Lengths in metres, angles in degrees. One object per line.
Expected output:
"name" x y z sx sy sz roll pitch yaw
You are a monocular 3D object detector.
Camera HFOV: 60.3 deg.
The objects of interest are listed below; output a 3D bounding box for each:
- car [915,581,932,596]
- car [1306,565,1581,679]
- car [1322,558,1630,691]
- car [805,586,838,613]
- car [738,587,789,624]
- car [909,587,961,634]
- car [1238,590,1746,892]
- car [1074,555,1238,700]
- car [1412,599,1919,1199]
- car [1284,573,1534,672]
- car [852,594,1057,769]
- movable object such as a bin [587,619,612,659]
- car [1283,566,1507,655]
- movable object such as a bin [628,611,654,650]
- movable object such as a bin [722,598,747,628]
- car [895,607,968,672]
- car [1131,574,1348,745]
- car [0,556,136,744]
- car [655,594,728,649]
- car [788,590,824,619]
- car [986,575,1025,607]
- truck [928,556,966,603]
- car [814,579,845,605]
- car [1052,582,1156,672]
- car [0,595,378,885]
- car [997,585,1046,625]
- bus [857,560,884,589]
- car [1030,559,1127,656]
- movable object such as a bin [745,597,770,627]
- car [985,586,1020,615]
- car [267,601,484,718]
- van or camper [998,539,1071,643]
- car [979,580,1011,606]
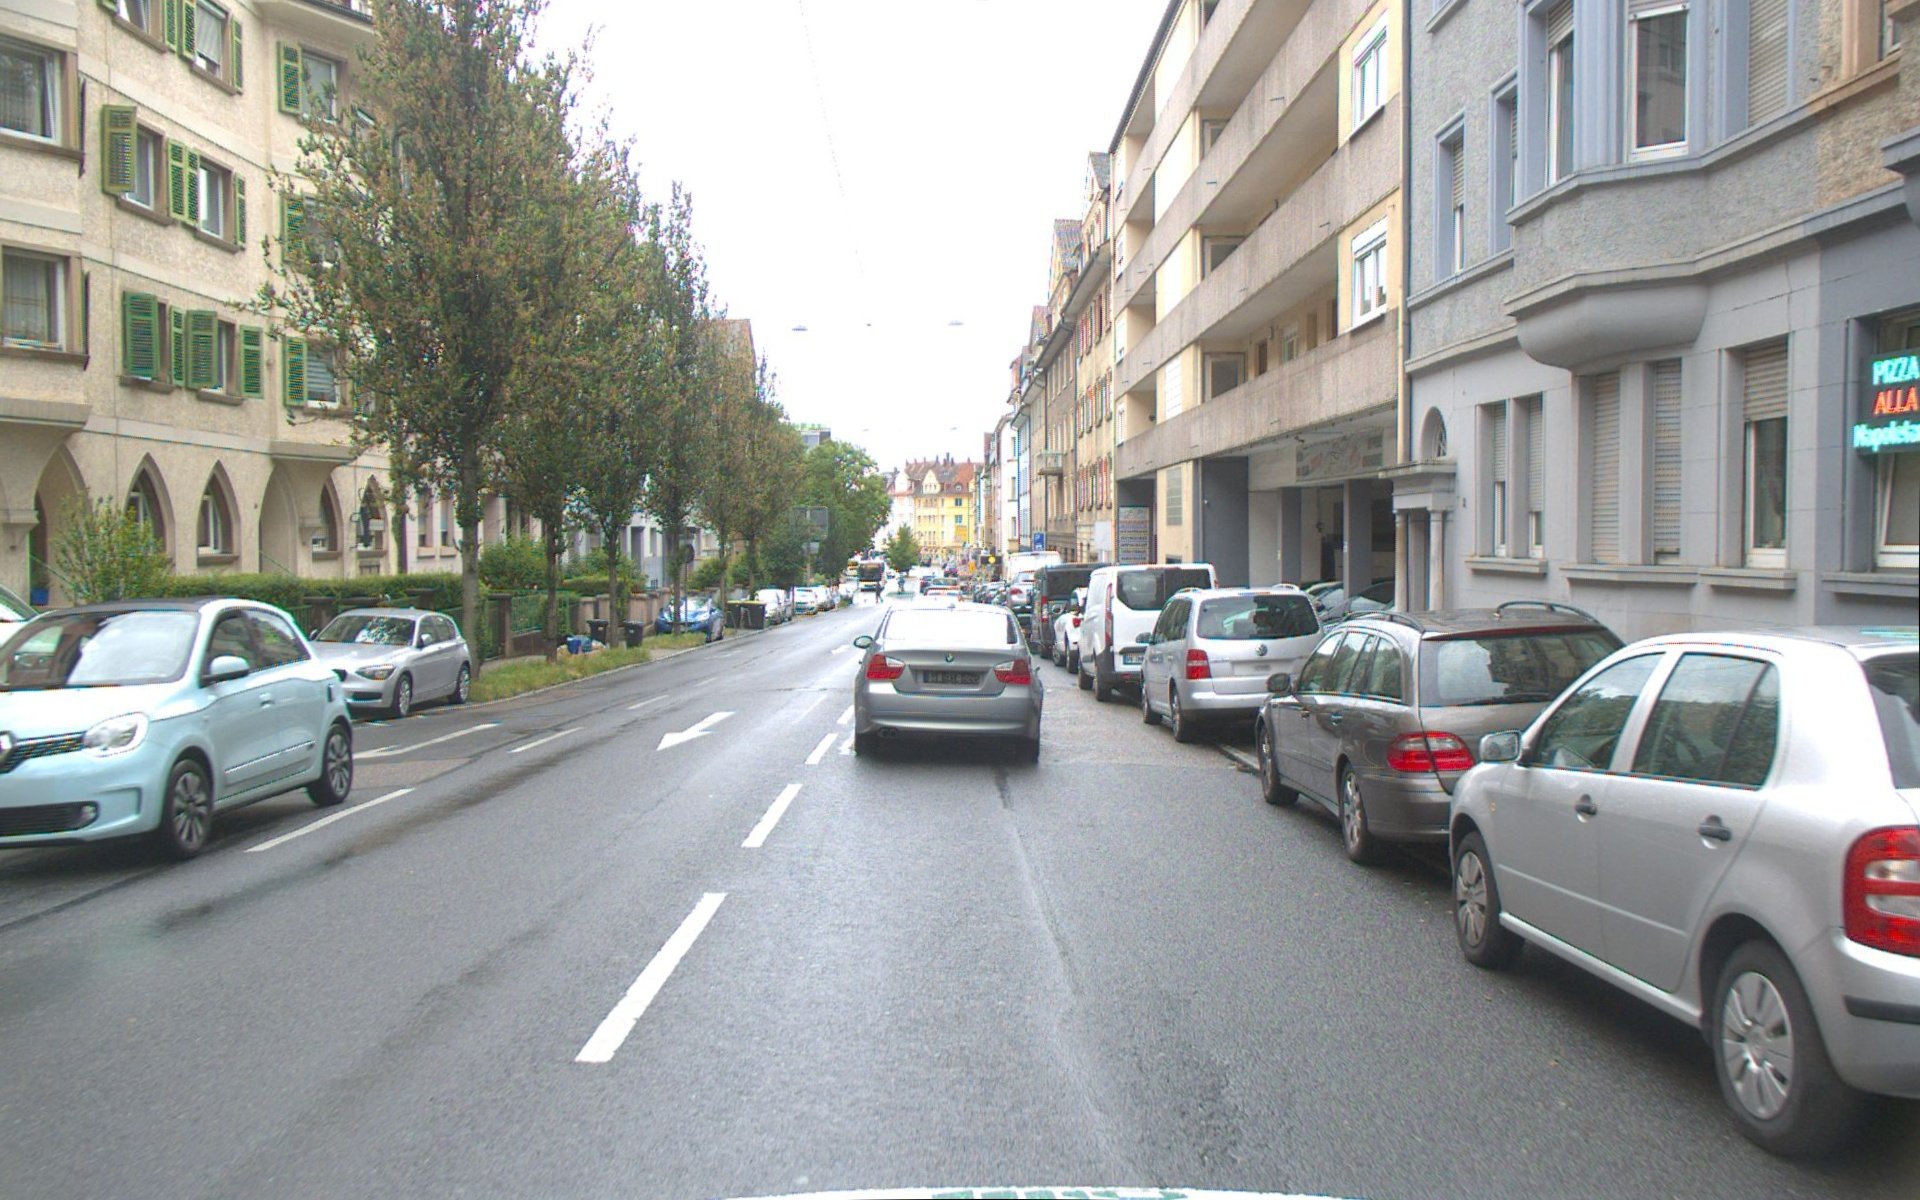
"car" -3.779 -1.173 170.680 1.663 1.509 3.792 -2 0 -2
"car" 7.898 0.336 27.413 4.233 1.756 1.911 0 2 12
"car" 7.687 0.325 24.857 4.234 1.836 2.008 0 2 17
"car" -8.539 -0.064 102.324 1.656 1.550 3.736 -2 1 0
"car" -8.768 0.235 74.094 1.790 1.550 3.736 -2 1 0
"car" -0.871 0.358 56.153 1.663 1.509 3.792 1 0 -2
"car" 3.247 0.738 11.241 1.861 1.504 4.798 -3 0 0
"car" 2.977 0.376 26.108 1.941 2.042 4.624 -1 0 -1
"car" 3.018 0.771 6.032 1.578 1.500 4.015 1 0 -1
"car" 7.955 0.388 29.623 4.195 1.669 1.669 0 2 12
"car" -0.037 0.691 16.052 1.733 1.453 3.741 1 0 0
"movable object such as a bin" -8.763 0.949 40.204 0.565 0.928 0.638 -1 0 -15
"car" 8.531 0.198 32.719 4.195 1.669 1.669 0 2 12
"movable object such as a bin" -7.796 0.736 40.376 0.565 0.928 0.638 -1 0 -15
"movable object such as a bin" -9.078 0.532 66.521 0.883 1.189 0.895 0 0 -1
"car" -0.652 0.923 40.113 1.647 1.453 3.741 1 0 0
"car" 3.117 0.604 19.300 1.691 1.699 4.288 -2 0 -1
"car" -12.256 0.575 18.765 4.731 2.008 2.047 -1 0 -1
"car" -8.493 0.651 52.668 1.731 1.621 3.999 -2 1 -2
"car" -8.785 0.257 94.424 1.656 1.550 3.736 -2 1 0
"car" 2.199 -0.430 81.140 1.663 1.509 3.974 1 0 -2
"truck" -0.736 -1.084 91.084 1.991 2.455 4.825 1 0 -2
"car" -8.413 -0.528 106.849 1.656 1.550 3.736 -2 1 0
"car" 2.897 0.500 34.082 1.691 1.699 4.288 -1 0 -1
"car" -5.337 0.788 10.962 1.603 1.534 3.754 -3 0 -1
"car" 2.415 0.201 65.321 1.663 1.509 3.974 1 0 -2
"bus" -9.762 -2.795 181.747 2.614 3.077 7.669 -1 0 -1
"car" 2.845 0.160 40.756 1.941 2.203 4.749 -1 0 -1
"movable object such as a bin" -8.139 0.482 66.547 0.916 1.189 0.909 0 0 -1
"car" 2.299 0.039 89.348 1.663 1.509 3.974 1 0 -2
"car" -8.382 0.794 24.093 1.691 1.509 3.989 2 0 0
"van or camper" 2.320 -0.303 51.357 1.991 2.918 6.888 3 1 3
"car" 2.080 -0.389 99.183 1.663 1.509 3.974 1 0 -2
